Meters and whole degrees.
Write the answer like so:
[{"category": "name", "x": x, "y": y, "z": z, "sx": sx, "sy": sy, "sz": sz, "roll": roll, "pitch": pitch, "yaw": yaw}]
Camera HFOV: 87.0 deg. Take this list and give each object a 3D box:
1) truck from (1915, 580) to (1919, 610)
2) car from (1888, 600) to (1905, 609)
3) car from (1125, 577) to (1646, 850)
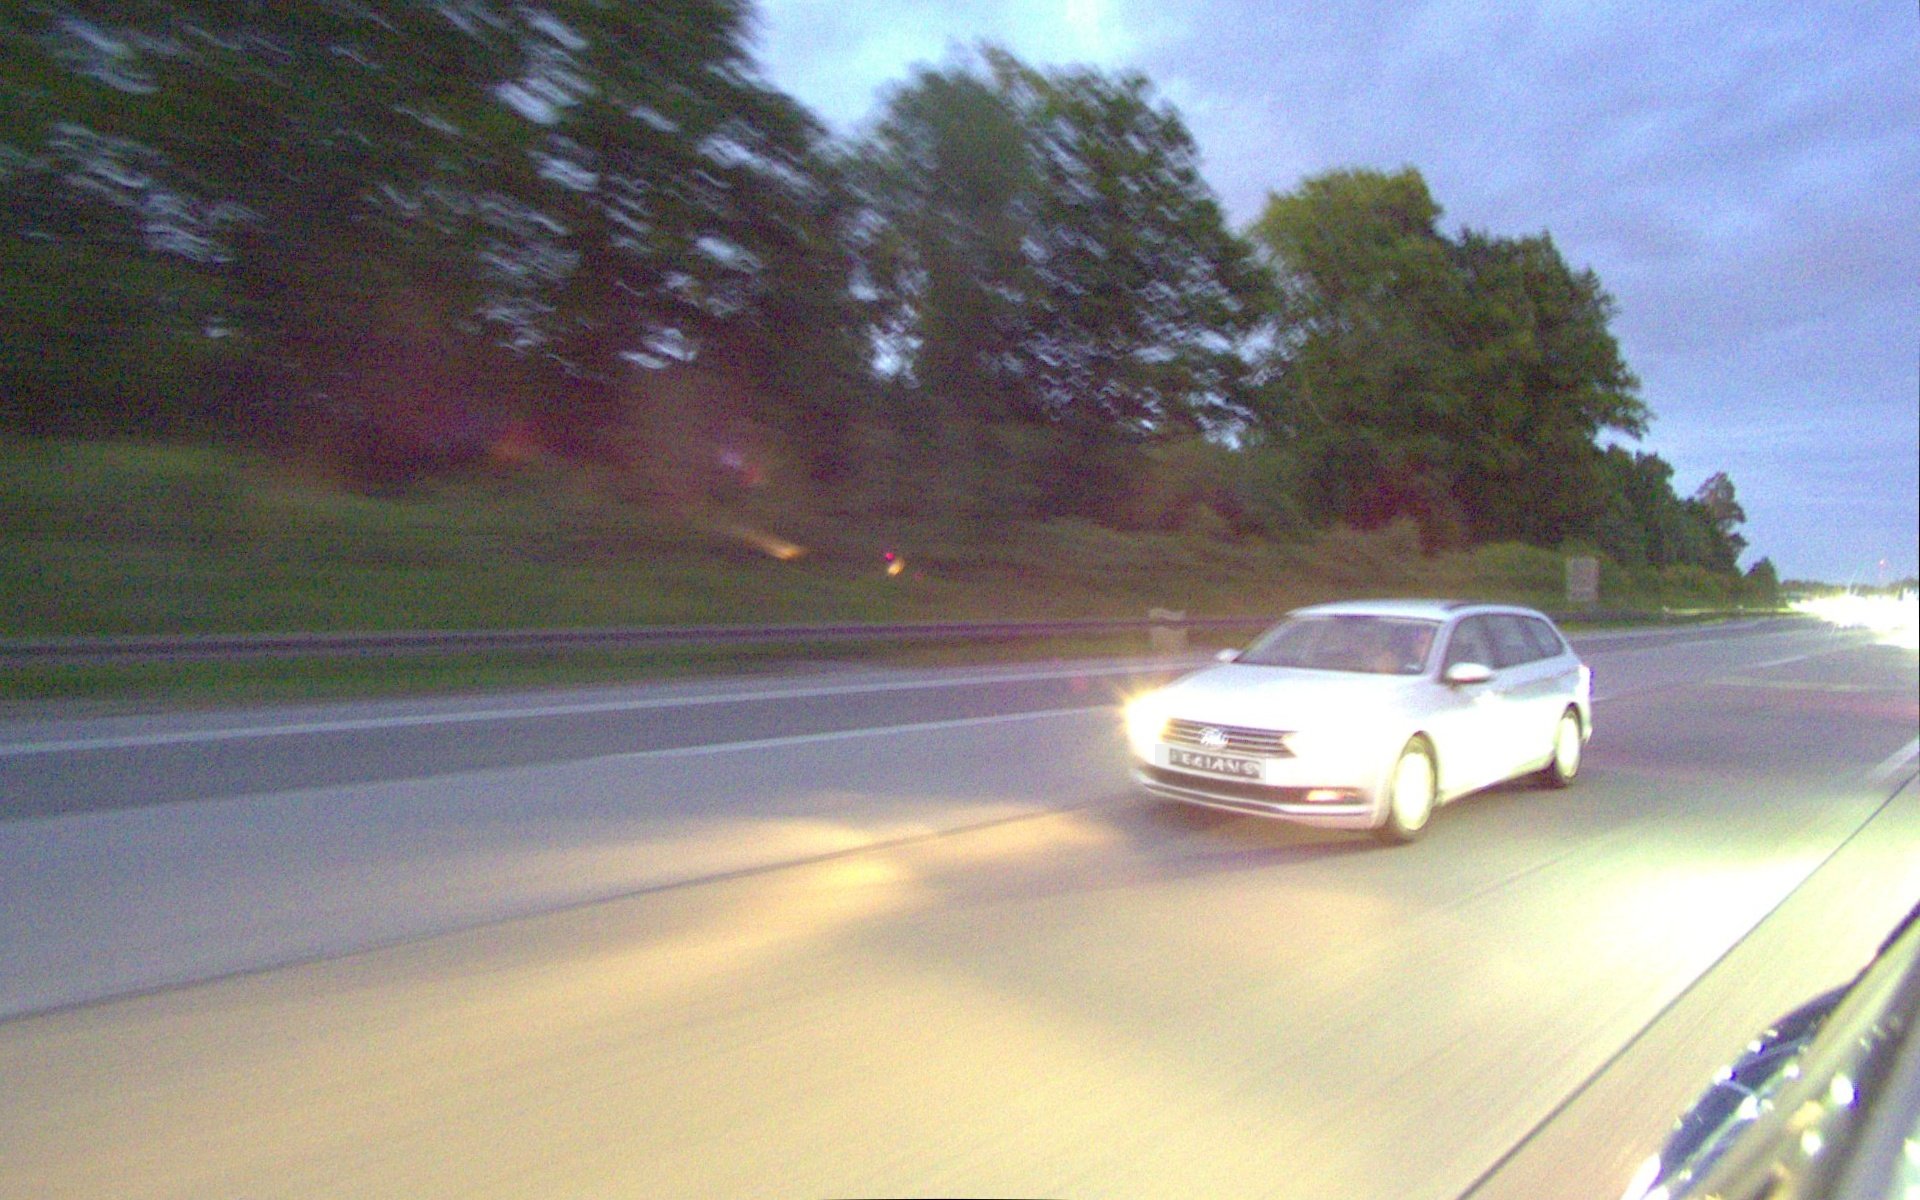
[{"category": "truck", "x": 136.700, "y": -0.638, "z": 142.261, "sx": 10.370, "sy": 4.062, "sz": 3.139, "roll": 0, "pitch": 0, "yaw": -44}, {"category": "car", "x": 150.621, "y": 0.710, "z": 162.758, "sx": 3.975, "sy": 1.398, "sz": 1.816, "roll": 0, "pitch": 0, "yaw": -44}, {"category": "car", "x": 3.589, "y": 0.644, "z": 7.907, "sx": 5.044, "sy": 1.485, "sz": 1.811, "roll": 1, "pitch": 0, "yaw": -42}]
